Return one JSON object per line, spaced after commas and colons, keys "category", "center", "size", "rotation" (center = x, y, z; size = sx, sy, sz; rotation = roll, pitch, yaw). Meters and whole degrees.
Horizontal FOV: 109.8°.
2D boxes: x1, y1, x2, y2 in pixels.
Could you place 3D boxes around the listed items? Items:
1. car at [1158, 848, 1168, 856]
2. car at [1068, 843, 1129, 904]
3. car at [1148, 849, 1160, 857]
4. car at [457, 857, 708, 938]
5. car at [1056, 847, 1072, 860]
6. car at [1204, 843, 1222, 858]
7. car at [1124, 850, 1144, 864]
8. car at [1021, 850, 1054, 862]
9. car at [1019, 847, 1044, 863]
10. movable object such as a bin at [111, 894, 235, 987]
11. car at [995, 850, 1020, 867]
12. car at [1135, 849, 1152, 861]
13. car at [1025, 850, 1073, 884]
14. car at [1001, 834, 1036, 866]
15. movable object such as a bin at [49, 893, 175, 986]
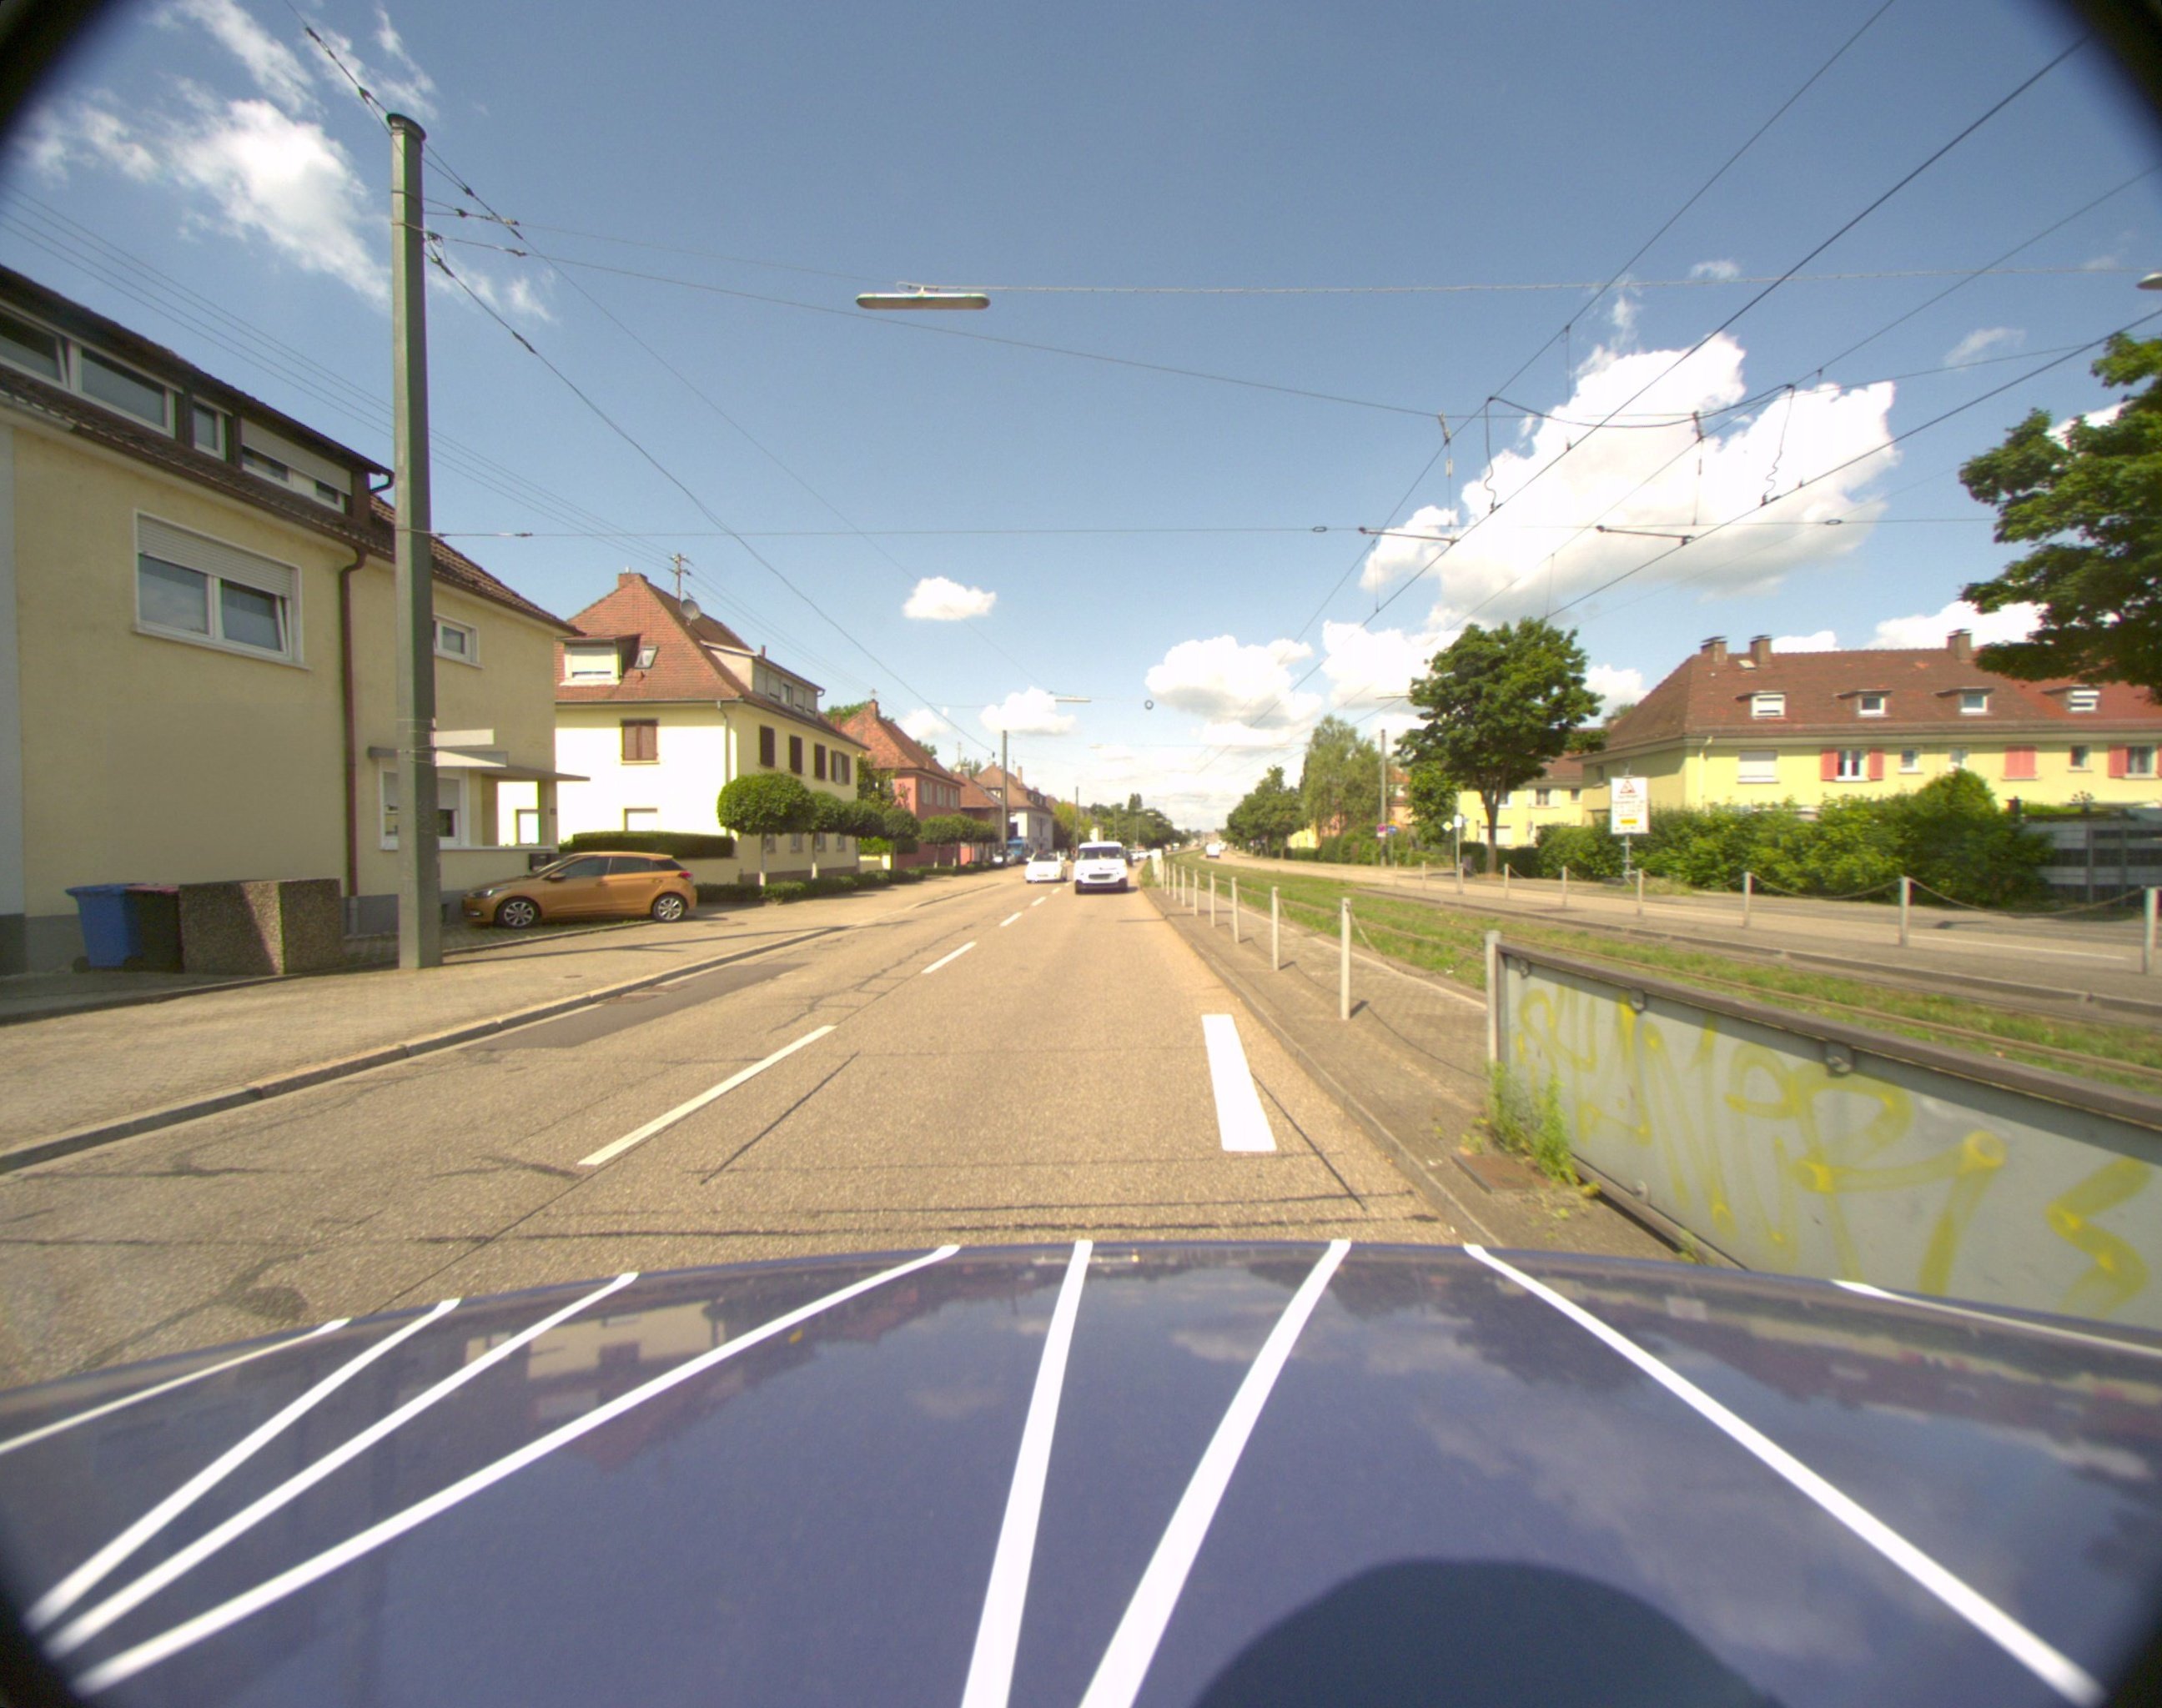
{"category": "car", "center": [18.036, -0.413, 166.554], "size": [1.997, 1.477, 4.002], "rotation": [-2, 1, 8]}
{"category": "car", "center": [0.690, 0.591, 25.963], "size": [1.777, 1.850, 4.376], "rotation": [-1, 1, 5]}
{"category": "car", "center": [14.348, -0.254, 148.897], "size": [1.997, 1.477, 4.002], "rotation": [-2, 1, 8]}
{"category": "car", "center": [-10.138, 0.815, 15.605], "size": [4.101, 1.449, 1.911], "rotation": [1, -1, -39]}
{"category": "car", "center": [-2.322, -0.095, 107.148], "size": [1.760, 1.637, 4.770], "rotation": [1, 1, 4]}
{"category": "car", "center": [21.646, -0.612, 124.635], "size": [2.201, 2.358, 5.332], "rotation": [1, 1, 2]}
{"category": "car", "center": [6.377, 0.360, 90.944], "size": [1.997, 1.477, 4.002], "rotation": [-2, 1, 8]}
{"category": "car", "center": [-5.221, 0.225, 91.622], "size": [3.657, 1.372, 1.727], "rotation": [-1, 2, 4]}
{"category": "car", "center": [-5.264, 0.082, 81.304], "size": [1.840, 1.701, 4.865], "rotation": [1, 0, 5]}
{"category": "movable object such as a bin", "center": [-11.013, 1.029, 9.238], "size": [0.640, 1.041, 0.685], "rotation": [-1, 1, 1]}
{"category": "car", "center": [-6.557, 0.365, 68.220], "size": [1.653, 1.401, 4.350], "rotation": [0, 1, 2]}
{"category": "car", "center": [8.807, 0.095, 106.530], "size": [1.997, 1.576, 4.002], "rotation": [-2, 1, 10]}
{"category": "car", "center": [-1.512, 0.594, 37.357], "size": [1.777, 1.540, 4.001], "rotation": [-2, 0, 5]}
{"category": "car", "center": [-6.125, -0.420, 75.097], "size": [2.156, 2.913, 6.246], "rotation": [-2, 1, 6]}
{"category": "movable object such as a bin", "center": [-11.720, 1.017, 9.212], "size": [0.647, 1.049, 0.659], "rotation": [-1, 1, 1]}
